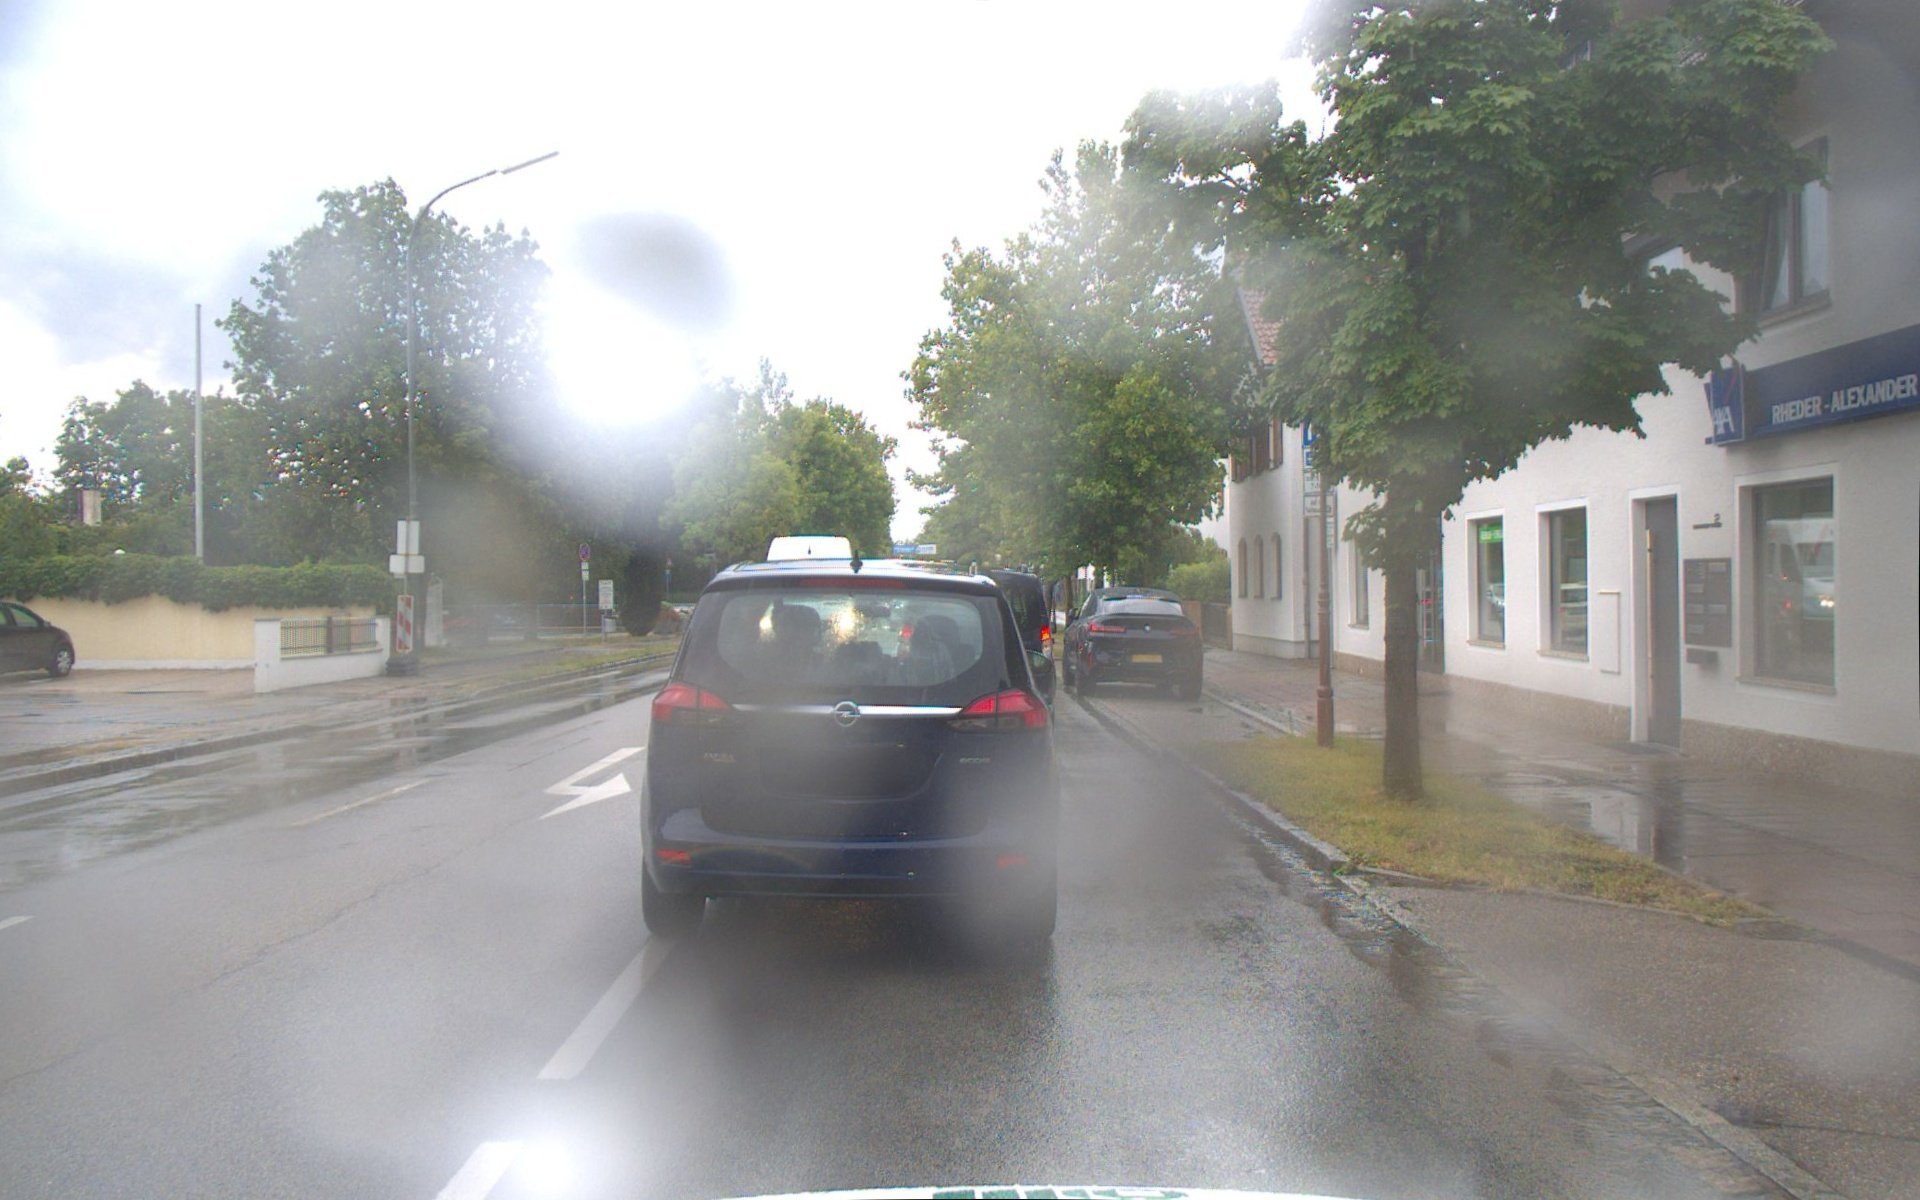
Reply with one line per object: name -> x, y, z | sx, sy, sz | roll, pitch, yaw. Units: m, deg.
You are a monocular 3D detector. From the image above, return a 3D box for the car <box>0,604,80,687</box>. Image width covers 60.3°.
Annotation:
car -> -17.192, 0.814, 29.083 | 1.574, 1.404, 3.508 | -2, 0, -1

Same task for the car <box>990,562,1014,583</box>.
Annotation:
car -> 3.156, -2.061, 124.217 | 1.597, 1.402, 3.622 | -2, 0, -1

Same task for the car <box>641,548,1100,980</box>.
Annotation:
car -> -0.357, 0.621, 8.130 | 1.733, 1.633, 3.663 | 1, 0, -1

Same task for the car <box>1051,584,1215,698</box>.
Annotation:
car -> 2.606, 0.597, 25.832 | 2.074, 1.609, 3.934 | 1, 0, -1

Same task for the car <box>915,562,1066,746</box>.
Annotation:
car -> 0.288, 0.531, 17.910 | 1.470, 1.807, 3.111 | 1, 0, -1

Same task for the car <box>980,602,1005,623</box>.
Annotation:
car -> 2.233, 0.893, 114.672 | 1.597, 1.402, 3.622 | 0, -1, -1

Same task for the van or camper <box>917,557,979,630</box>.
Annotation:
van or camper -> -0.485, -0.253, 65.467 | 2.312, 2.712, 5.371 | -1, 0, -1

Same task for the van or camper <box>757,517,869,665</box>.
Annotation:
van or camper -> -2.952, -0.178, 34.146 | 2.053, 2.754, 6.264 | -1, 0, -4
